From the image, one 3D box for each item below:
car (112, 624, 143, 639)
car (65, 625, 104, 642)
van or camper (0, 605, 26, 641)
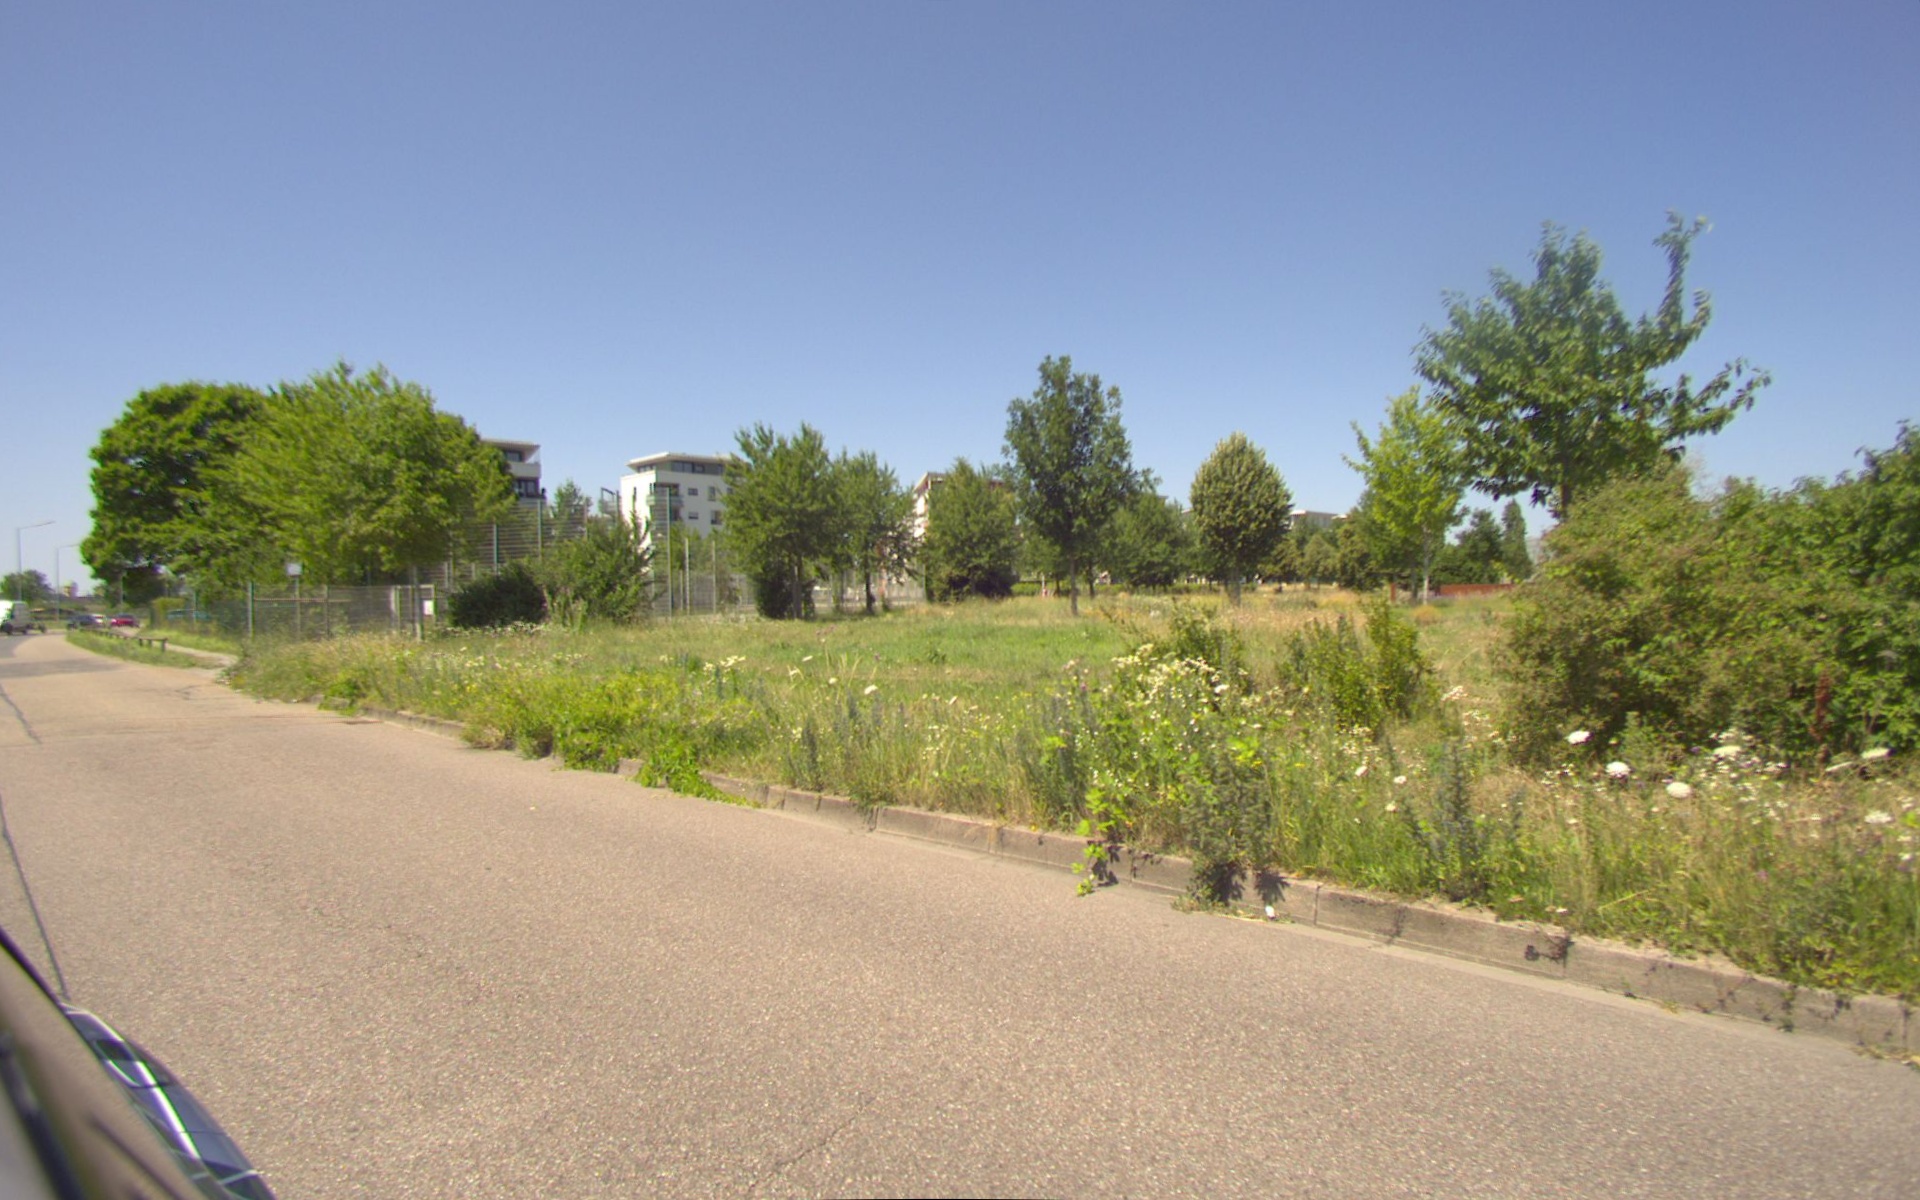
[{"bbox_3d":[-90.456,3.377,110.005,1.626,1.477,3.879,-1,0,-25],"label":"car"},{"bbox_3d":[-81.924,3.129,94.697,1.626,1.477,3.879,-1,0,-23],"label":"car"},{"bbox_3d":[-70.863,1.701,74.641,2.107,2.592,5.881,-1,0,-35],"label":"van or camper"}]
